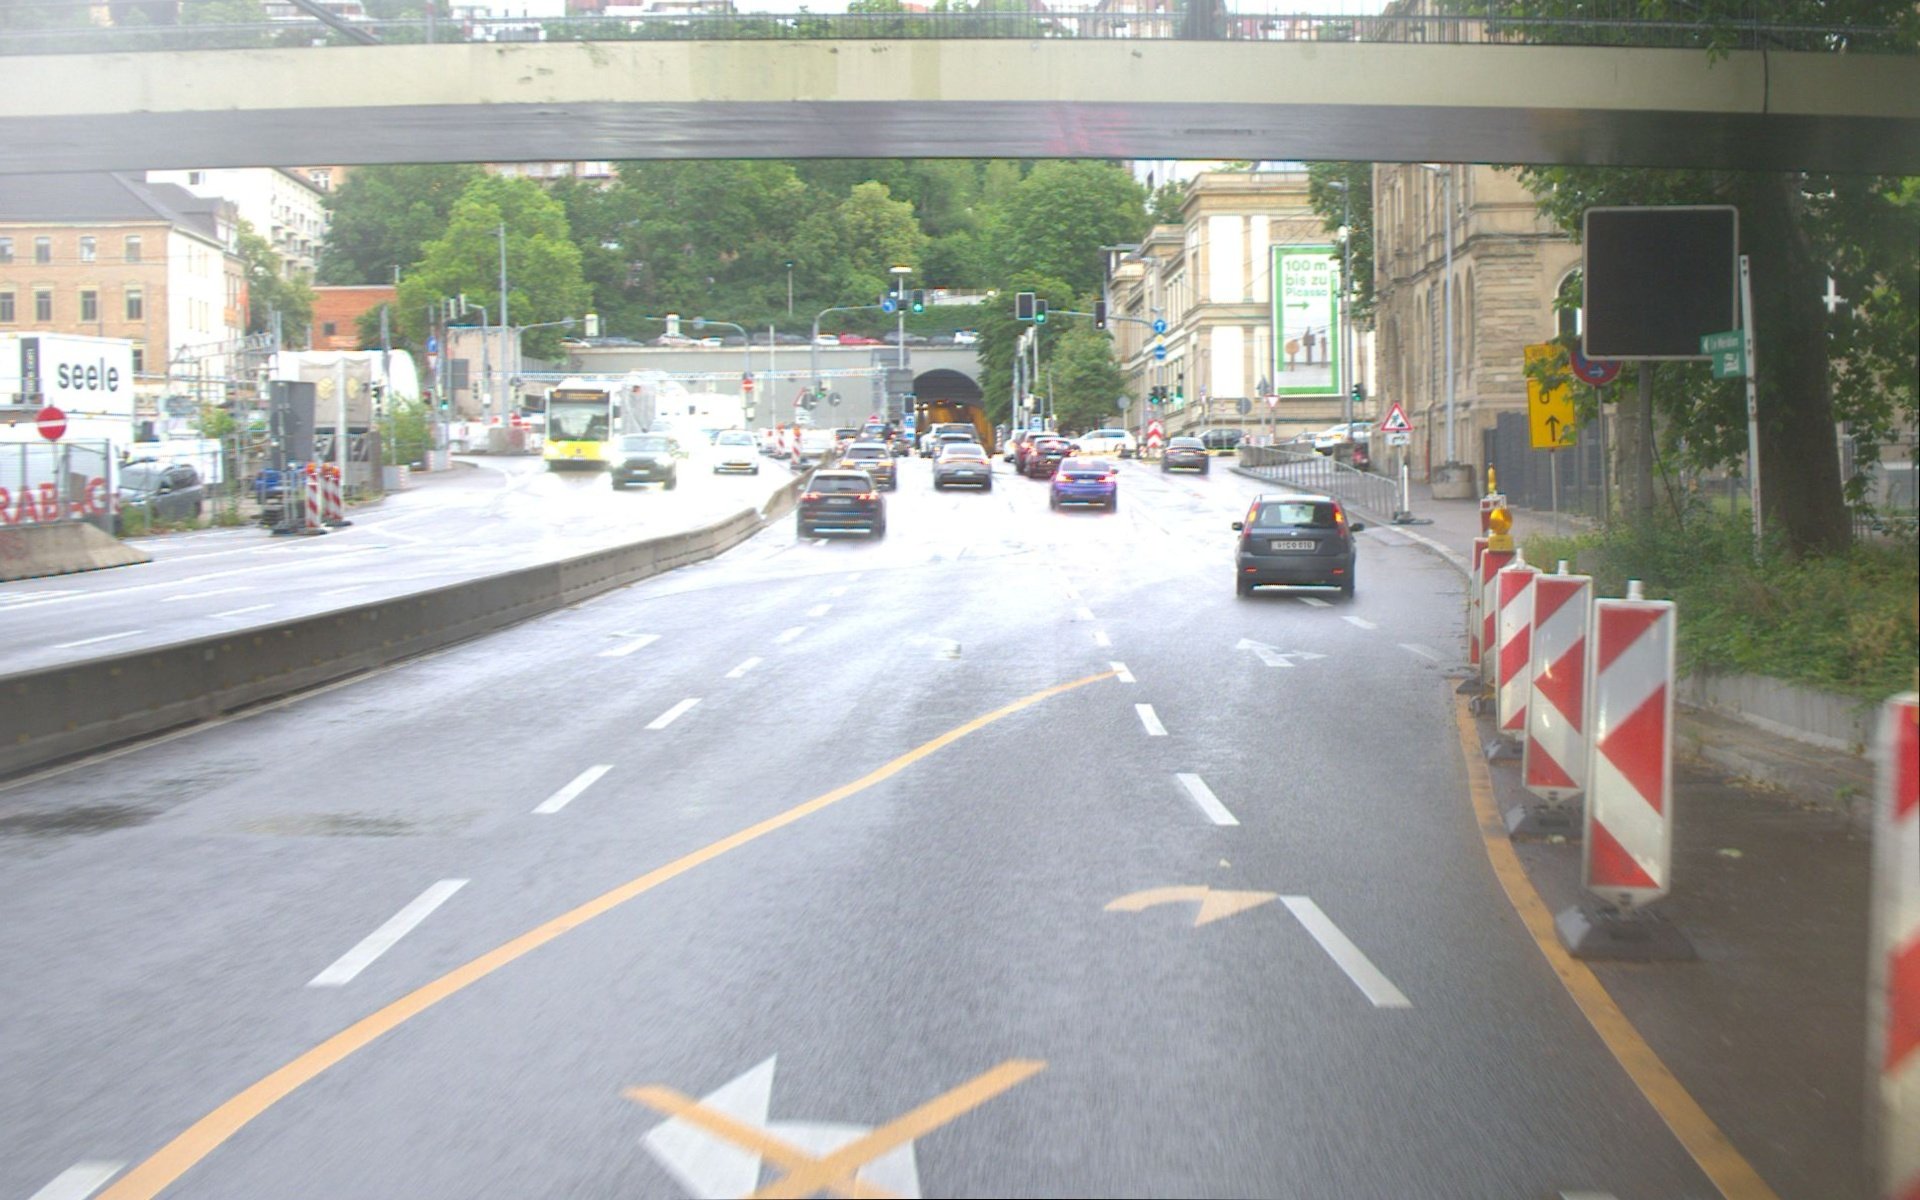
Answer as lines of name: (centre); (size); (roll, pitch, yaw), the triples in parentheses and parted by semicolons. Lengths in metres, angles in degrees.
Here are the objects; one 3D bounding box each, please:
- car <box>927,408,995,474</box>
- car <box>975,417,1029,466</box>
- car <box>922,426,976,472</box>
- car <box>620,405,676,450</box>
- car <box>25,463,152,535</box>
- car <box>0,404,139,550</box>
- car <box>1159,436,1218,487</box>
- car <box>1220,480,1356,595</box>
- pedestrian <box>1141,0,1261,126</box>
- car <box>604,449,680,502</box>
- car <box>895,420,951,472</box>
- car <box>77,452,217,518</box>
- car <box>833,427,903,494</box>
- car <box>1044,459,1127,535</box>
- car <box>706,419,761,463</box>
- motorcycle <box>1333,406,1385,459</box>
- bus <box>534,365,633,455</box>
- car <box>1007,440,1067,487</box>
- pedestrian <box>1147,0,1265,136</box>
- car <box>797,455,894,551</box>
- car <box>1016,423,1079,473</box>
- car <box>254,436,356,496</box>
car: (0.006, -5.168, 111.864); (2.051, 2.007, 4.000); (-1, 1, -2)
car: (1.790, -6.812, 147.910); (1.993, 2.006, 4.001); (-1, 2, -4)
car: (-0.541, -7.115, 161.950); (2.292, 2.007, 4.605); (-1, 1, -3)
car: (-12.818, -7.106, 141.588); (2.039, 1.656, 4.934); (-1, 1, -2)
car: (-20.610, -2.412, 81.442); (1.762, 1.560, 4.176); (-1, 3, 2)
car: (-19.201, -2.424, 68.635); (1.996, 2.865, 6.044); (-1, 1, 26)
car: (9.135, -5.556, 137.545); (1.993, 2.006, 4.001); (0, 2, -1)
car: (4.651, -0.903, 48.974); (1.812, 1.521, 4.000); (-1, 1, 5)
pedestrian: (2.463, -5.955, 35.158); (1.148, 2.053, 1.059); (-1, 1, 8)
car: (-10.179, -4.008, 110.261); (2.081, 1.625, 4.854); (-1, 3, -2)
car: (-1.435, -5.855, 131.115); (1.993, 1.863, 4.001); (-1, 1, -2)
car: (-20.401, -2.868, 86.459); (1.762, 1.560, 4.681); (-1, 1, 9)
car: (-2.931, -4.449, 110.186); (1.993, 2.007, 4.000); (-1, 1, 2)
car: (3.513, -2.872, 96.670); (2.105, 2.043, 4.000); (-1, 1, -1)
car: (-8.211, -5.766, 124.713); (1.709, 1.484, 3.451); (-1, 1, 1)
motorcycle: (15.500, -6.520, 133.610); (1.795, 2.006, 3.813); (0, 4, 3)
bus: (-14.067, -7.086, 129.093); (2.806, 3.173, 8.809); (-1, 2, -1)
car: (2.931, -5.223, 132.129); (1.993, 1.693, 4.001); (-1, 1, -3)
pedestrian: (2.590, -5.994, 36.187); (1.148, 2.053, 1.059); (-1, 1, 8)
car: (-2.497, -2.118, 75.771); (2.016, 2.007, 4.000); (-1, 1, -1)
car: (3.170, -5.557, 125.910); (1.993, 1.693, 4.001); (-1, 1, -3)
car: (-19.031, -3.911, 100.028); (1.994, 1.616, 4.000); (0, 4, 3)
